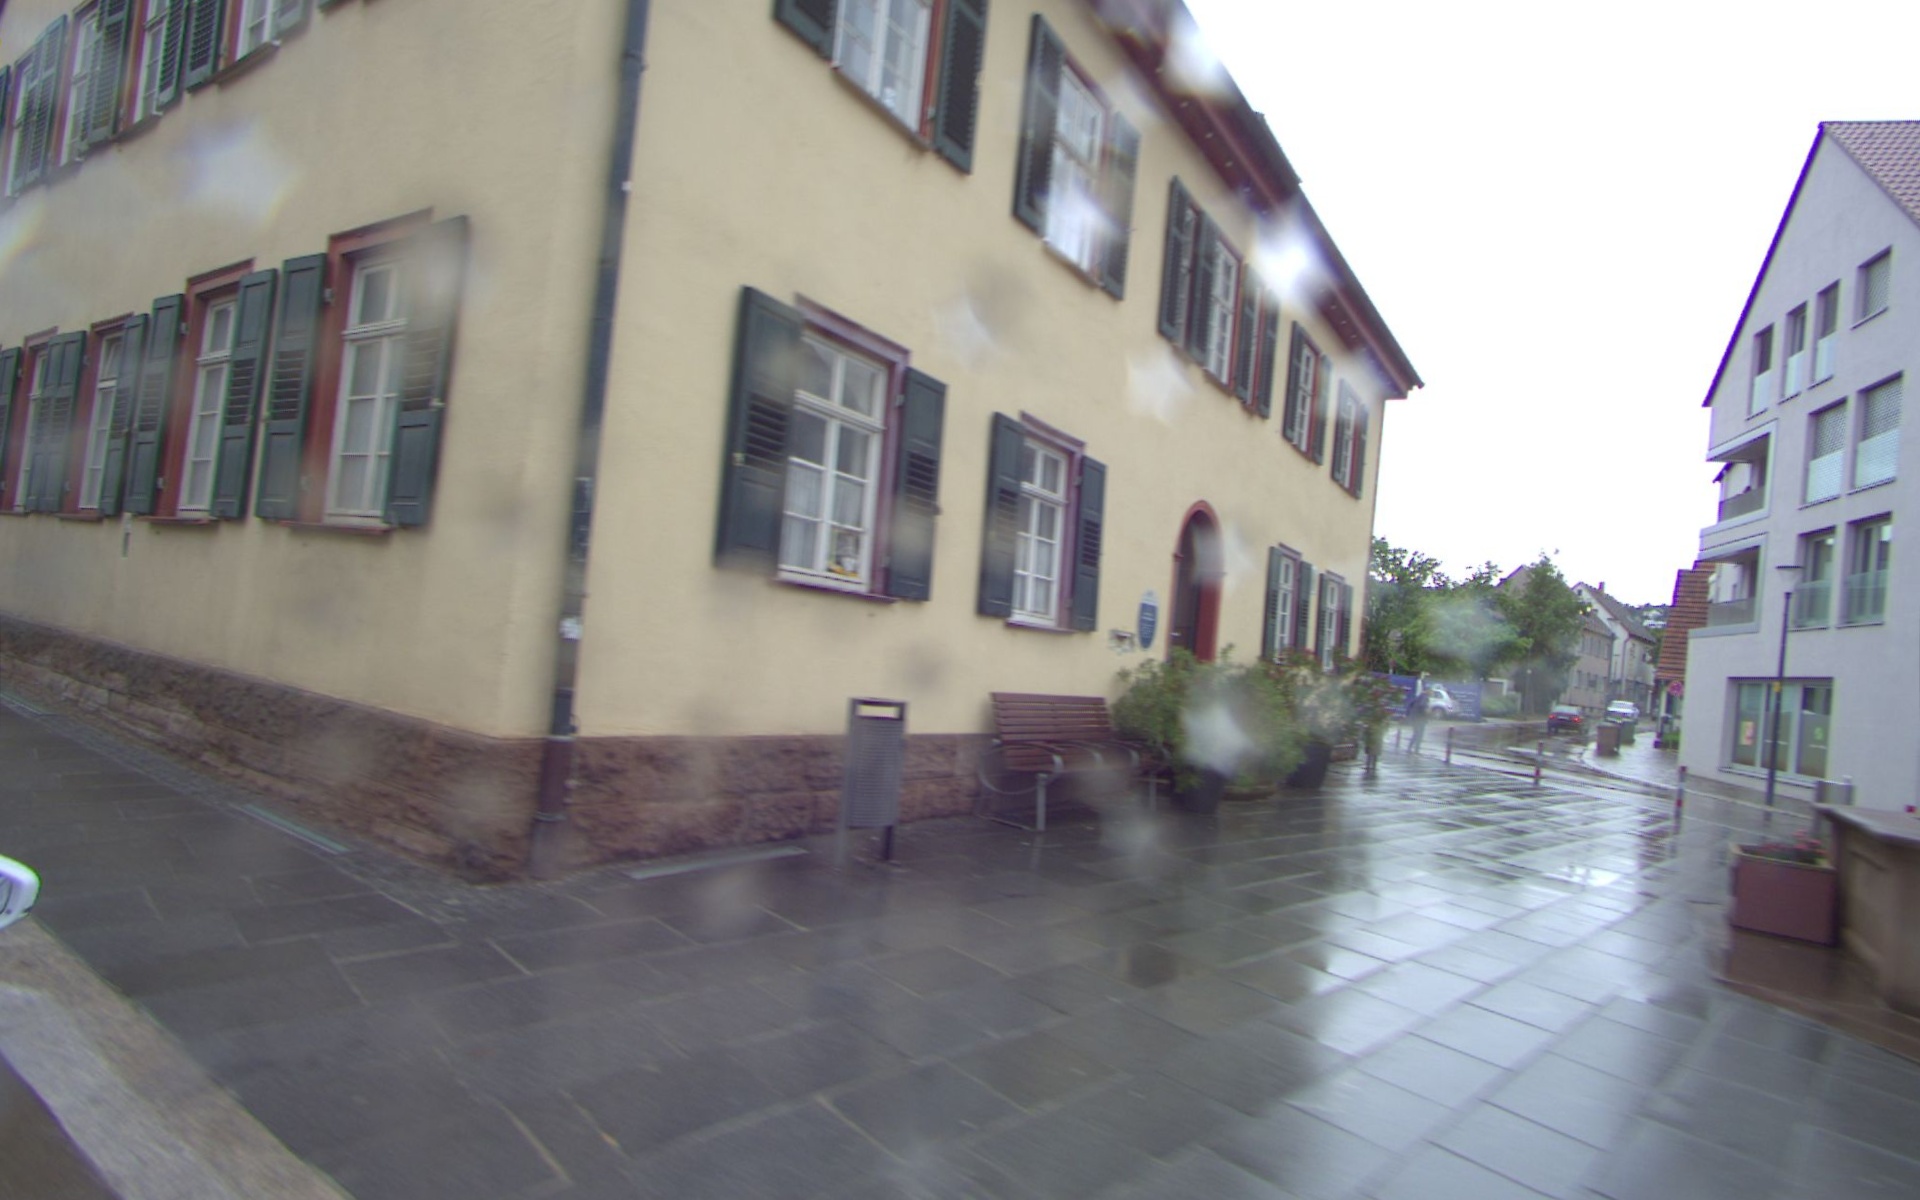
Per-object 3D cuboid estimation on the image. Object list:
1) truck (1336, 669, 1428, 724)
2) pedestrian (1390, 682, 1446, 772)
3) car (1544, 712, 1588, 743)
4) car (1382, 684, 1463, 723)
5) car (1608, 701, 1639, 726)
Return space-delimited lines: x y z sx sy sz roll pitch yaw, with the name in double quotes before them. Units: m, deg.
"truck" 19.655 4.490 46.890 3.492 2.038 1.860 6 -1 35
"pedestrian" 10.194 2.815 22.417 0.777 1.844 0.687 6 0 7
"car" 32.464 6.813 53.856 1.646 1.379 3.596 6 -2 35
"car" 24.451 5.444 53.176 3.492 1.567 1.860 6 -1 35
"car" 49.267 8.441 74.677 1.646 1.570 3.596 6 -2 35
